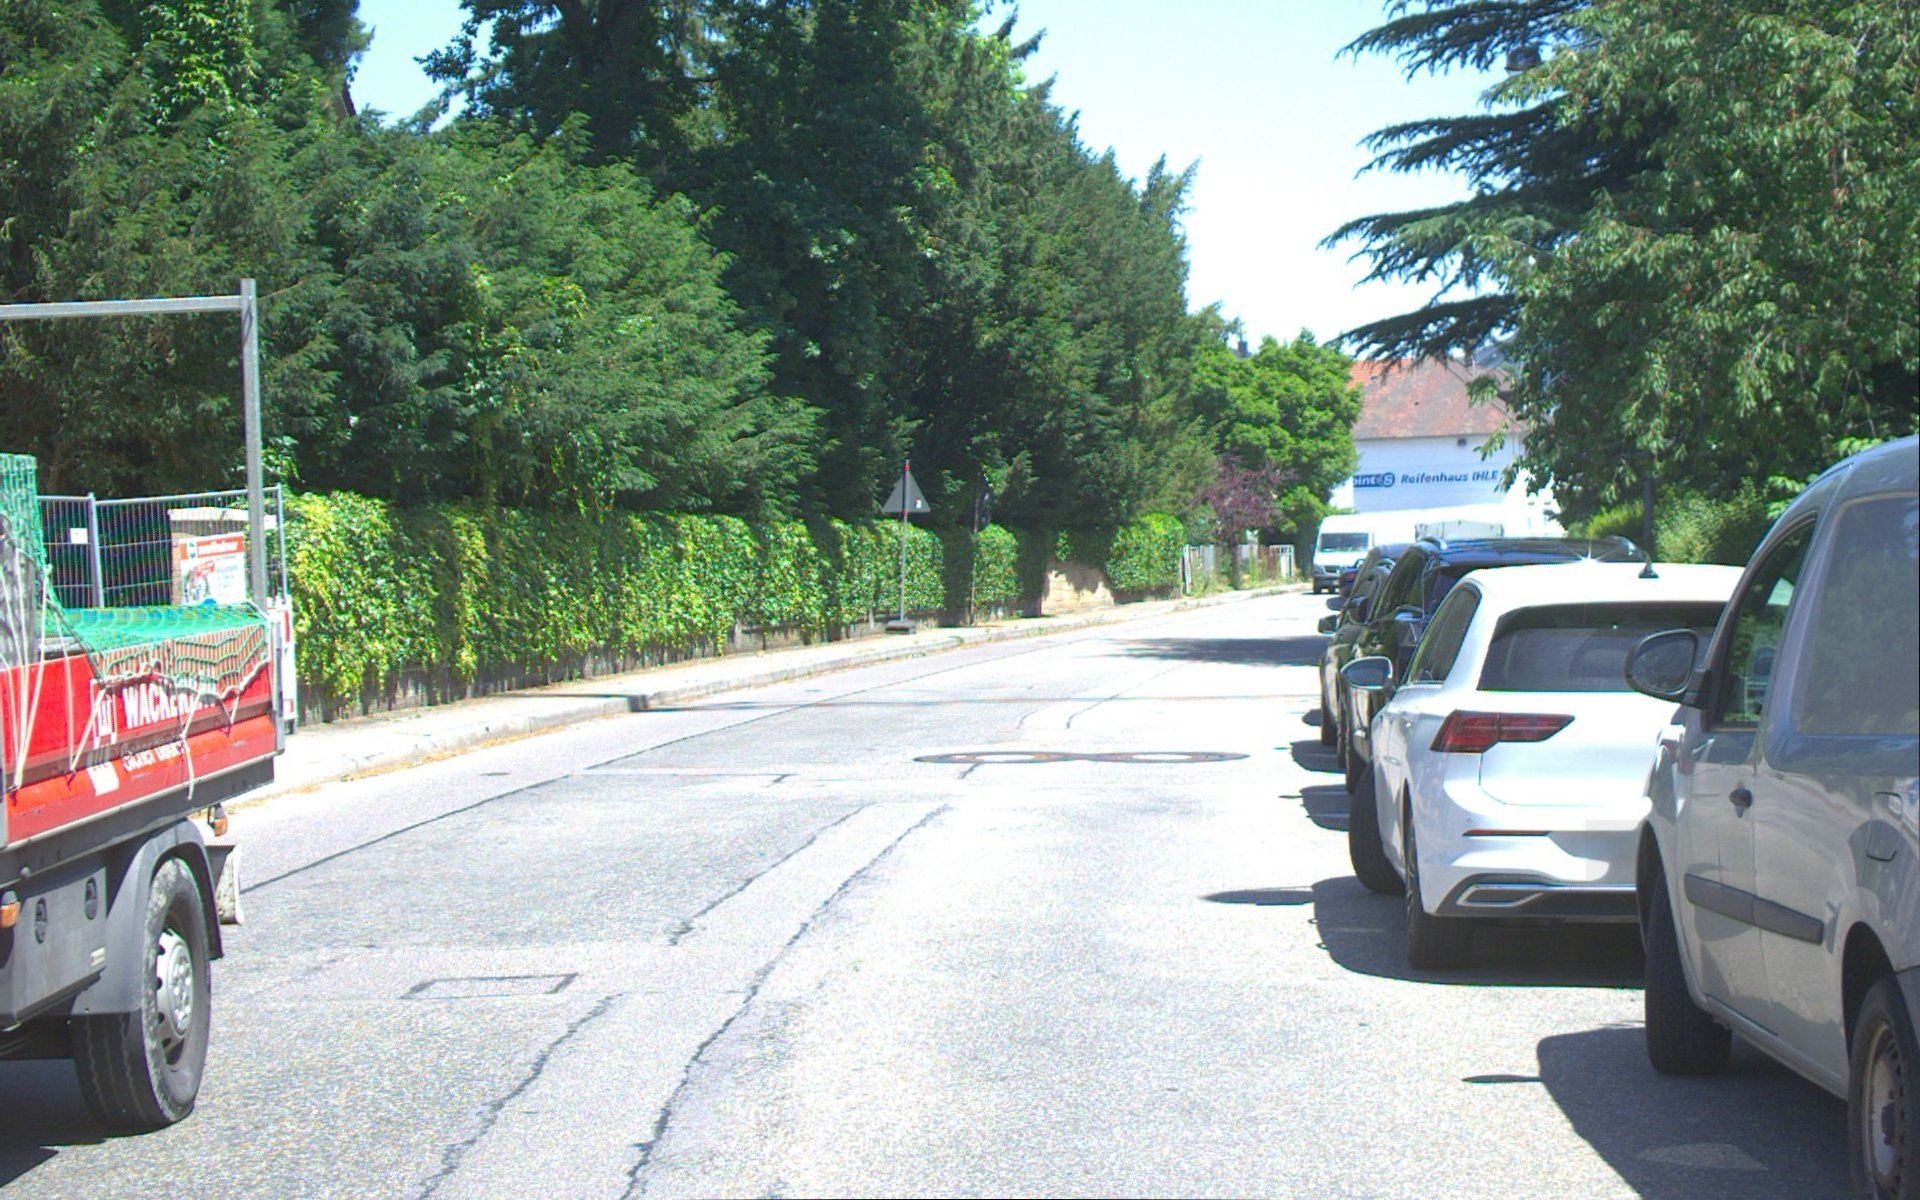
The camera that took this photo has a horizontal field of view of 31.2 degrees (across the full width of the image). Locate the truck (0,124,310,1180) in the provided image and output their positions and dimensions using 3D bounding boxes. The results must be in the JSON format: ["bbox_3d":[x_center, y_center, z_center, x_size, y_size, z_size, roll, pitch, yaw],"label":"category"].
[{"bbox_3d":[-3.189,0.120,7.478,2.127,2.331,6.434,0,1,2],"label":"truck"}]

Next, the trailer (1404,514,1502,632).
[{"bbox_3d":[9.018,-0.509,62.861,1.680,2.061,3.707,1,1,8],"label":"trailer"}]

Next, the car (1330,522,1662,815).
[{"bbox_3d":[3.084,0.354,20.450,1.662,1.533,4.203,1,0,5],"label":"car"}]

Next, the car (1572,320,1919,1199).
[{"bbox_3d":[2.671,0.387,8.377,1.662,1.797,4.203,2,0,2],"label":"car"}]

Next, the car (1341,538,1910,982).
[{"bbox_3d":[2.463,0.525,13.630,1.662,1.430,4.128,2,0,4],"label":"car"}]

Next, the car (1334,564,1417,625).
[{"bbox_3d":[11.055,-0.158,91.261,1.795,1.505,3.998,2,1,12],"label":"car"}]

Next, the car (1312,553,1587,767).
[{"bbox_3d":[3.501,0.374,25.200,1.662,1.427,4.203,0,1,4],"label":"car"}]

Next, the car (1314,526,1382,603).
[{"bbox_3d":[13.101,-1.177,115.897,1.994,2.524,5.892,0,0,9],"label":"car"}]
